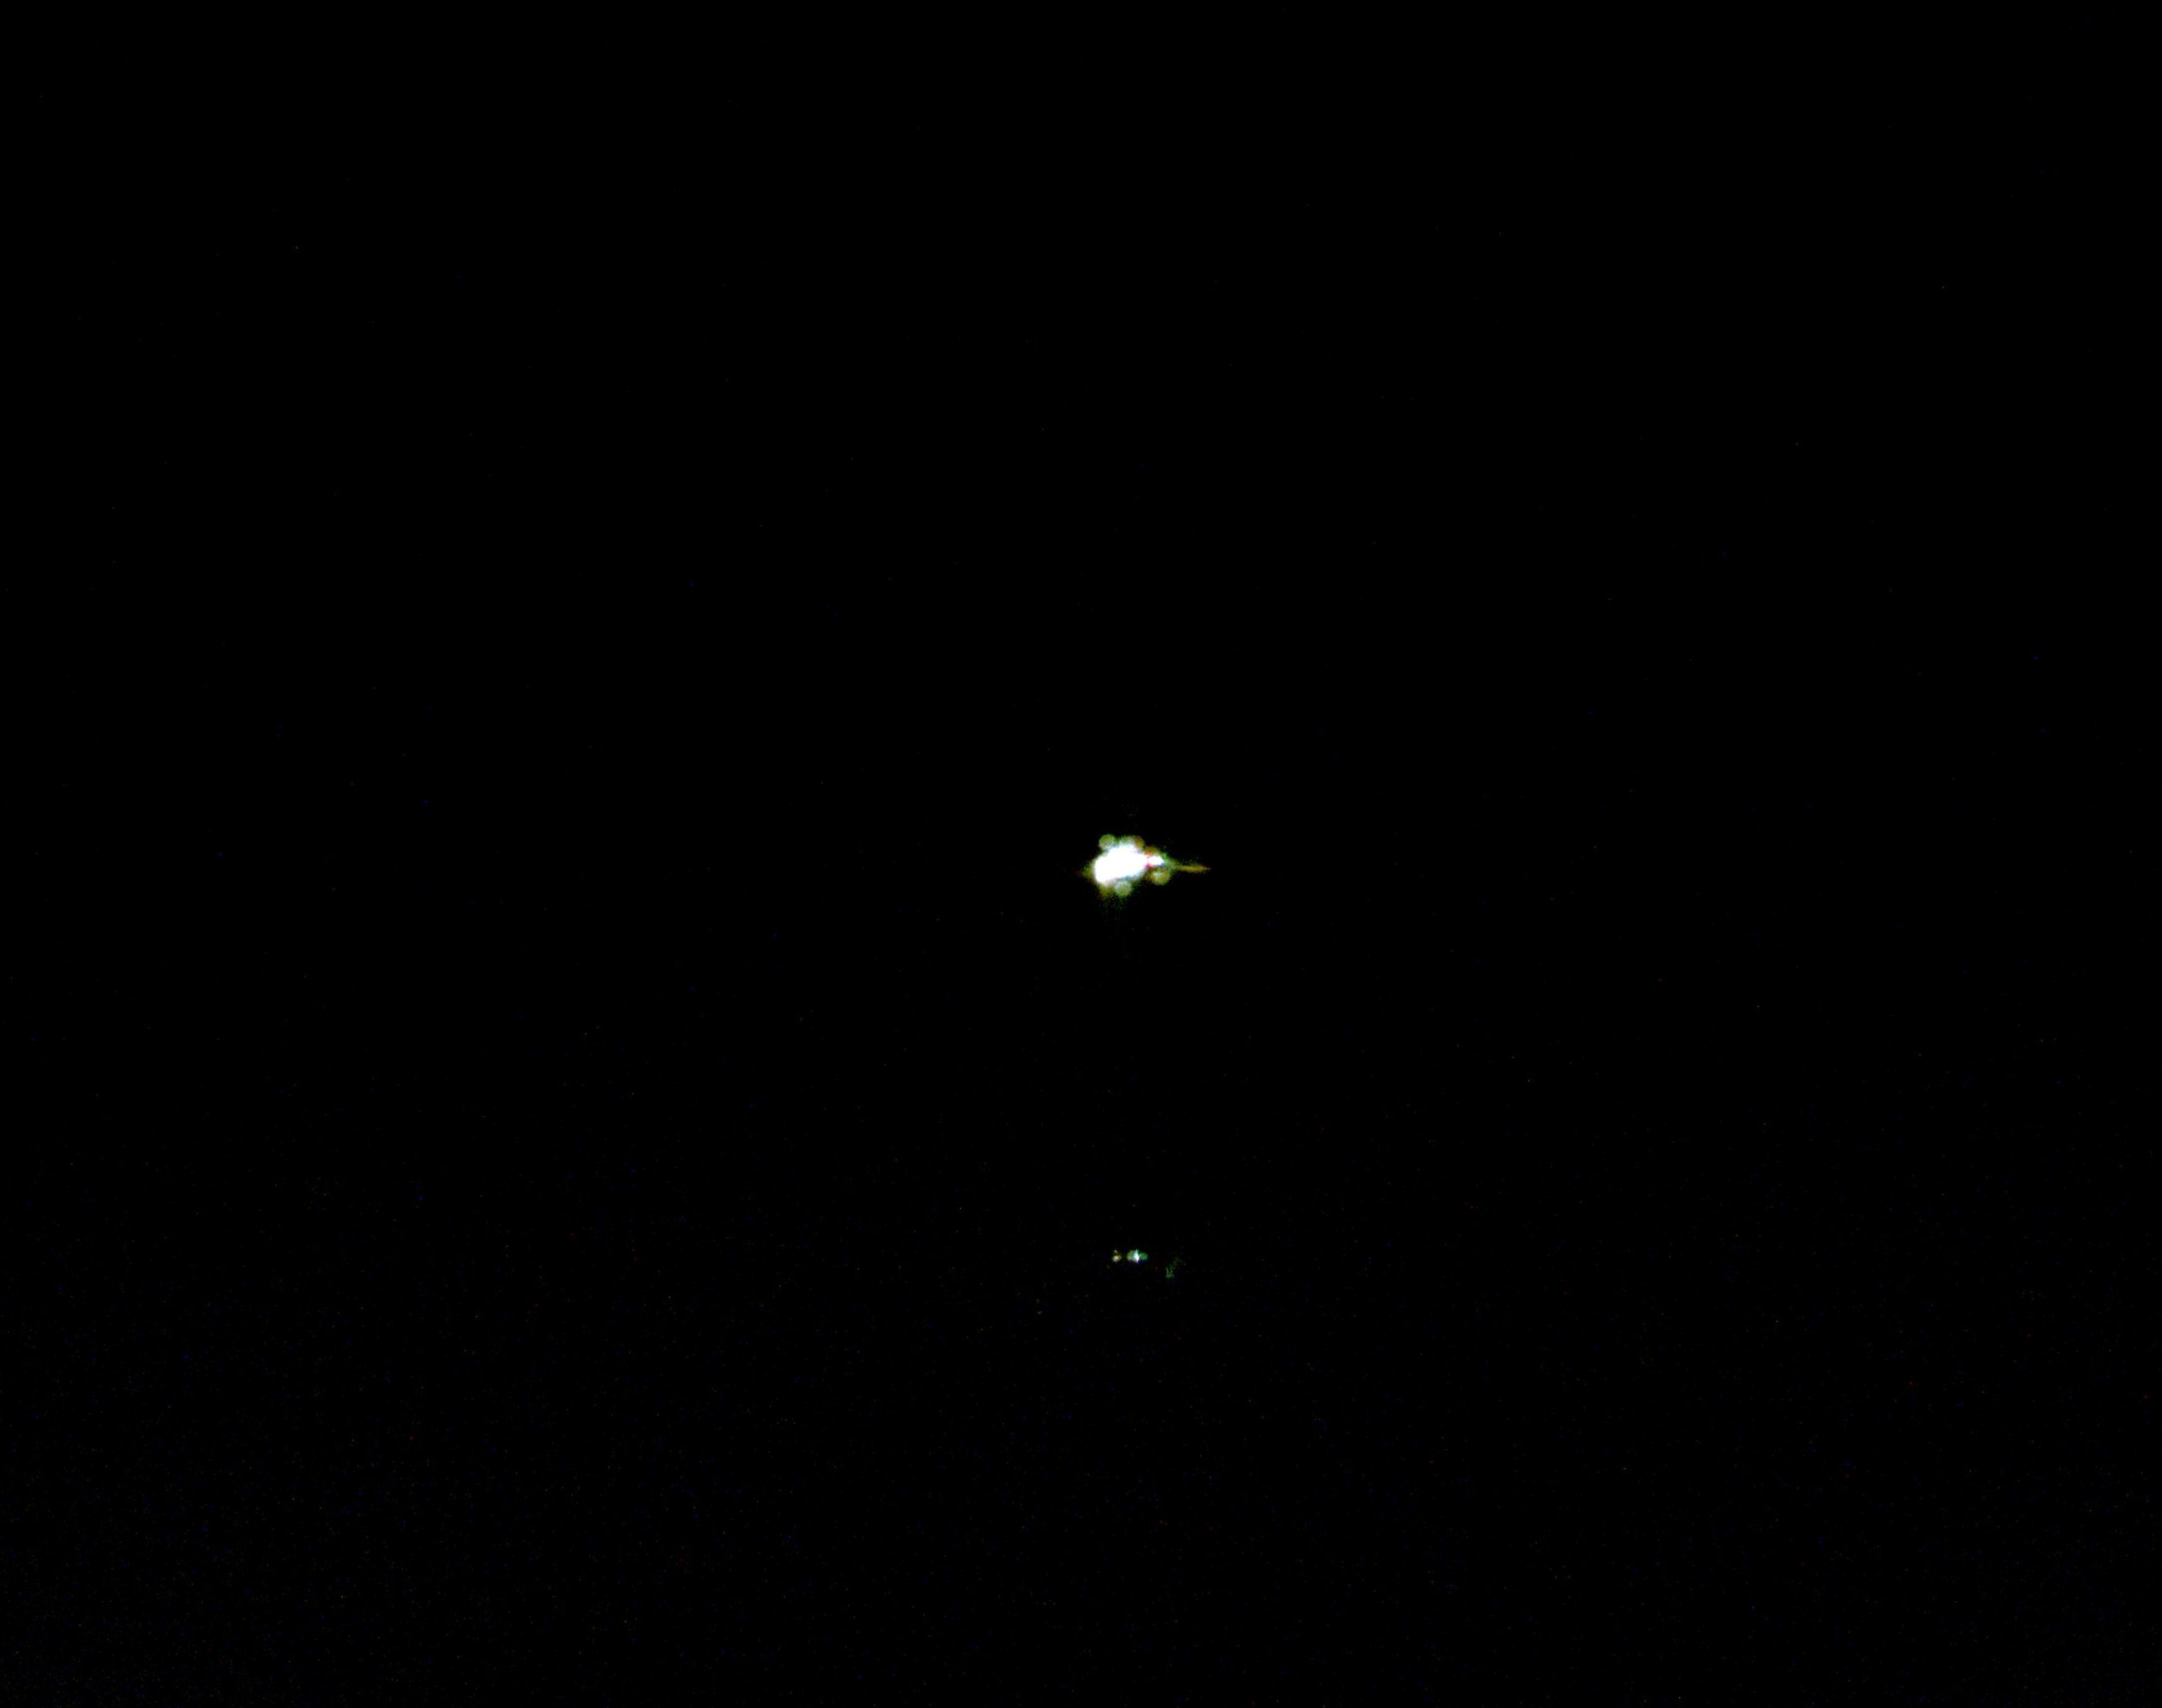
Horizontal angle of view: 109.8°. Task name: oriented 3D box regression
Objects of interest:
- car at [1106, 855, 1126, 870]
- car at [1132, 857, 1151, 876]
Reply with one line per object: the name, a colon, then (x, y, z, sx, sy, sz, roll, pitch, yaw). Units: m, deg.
car: (4.075, 0.998, 88.496, 1.877, 1.578, 4.892, -3, 0, 7)
car: (6.819, 1.407, 85.593, 1.998, 2.001, 4.002, -2, -1, 5)
